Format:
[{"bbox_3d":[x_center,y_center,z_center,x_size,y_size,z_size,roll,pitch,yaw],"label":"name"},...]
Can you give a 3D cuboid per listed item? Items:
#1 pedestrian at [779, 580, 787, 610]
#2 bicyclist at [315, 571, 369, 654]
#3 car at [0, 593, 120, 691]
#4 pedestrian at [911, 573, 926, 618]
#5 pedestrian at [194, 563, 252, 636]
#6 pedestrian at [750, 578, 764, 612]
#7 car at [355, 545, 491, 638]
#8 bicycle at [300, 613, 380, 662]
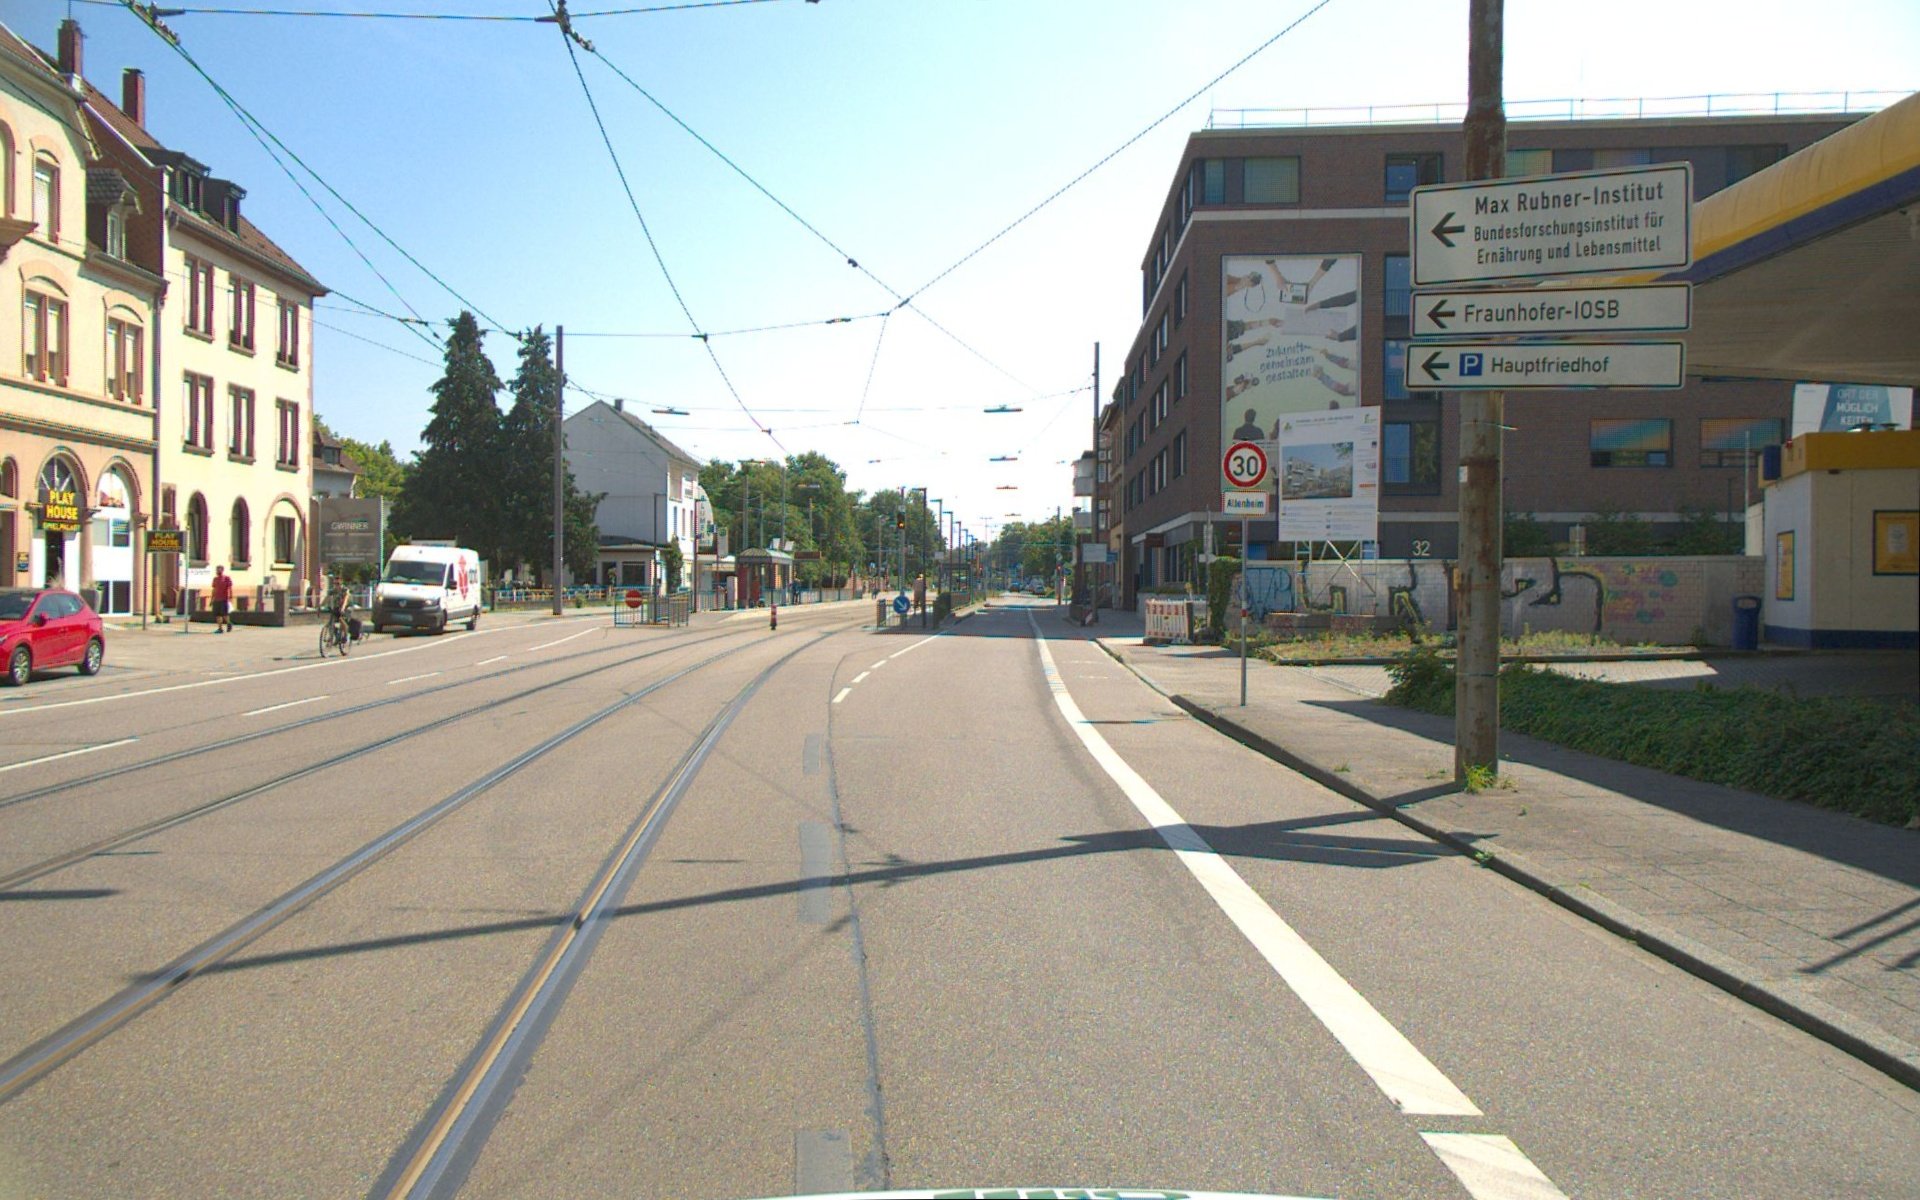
[{"bbox_3d":[-10.180,-0.293,95.188,0.408,1.719,0.705,0,0,-11],"label":"pedestrian"},{"bbox_3d":[-13.291,0.266,35.599,0.701,1.754,0.989,0,0,7],"label":"bicyclist"},{"bbox_3d":[-15.262,0.627,26.607,1.686,1.431,3.998,0,1,-4],"label":"car"},{"bbox_3d":[-1.682,-0.184,67.173,0.545,1.790,0.793,0,1,-4],"label":"pedestrian"},{"bbox_3d":[-18.942,-0.029,42.513,0.922,1.847,1.131,0,0,4],"label":"pedestrian"},{"bbox_3d":[-10.360,-0.251,84.339,0.691,1.719,0.416,0,0,-6],"label":"pedestrian"},{"bbox_3d":[-16.219,-0.275,50.382,2.283,2.580,6.502,2,0,-4],"label":"car"},{"bbox_3d":[-13.319,0.791,35.595,0.595,1.001,2.166,-2,0,9],"label":"bicycle"}]
